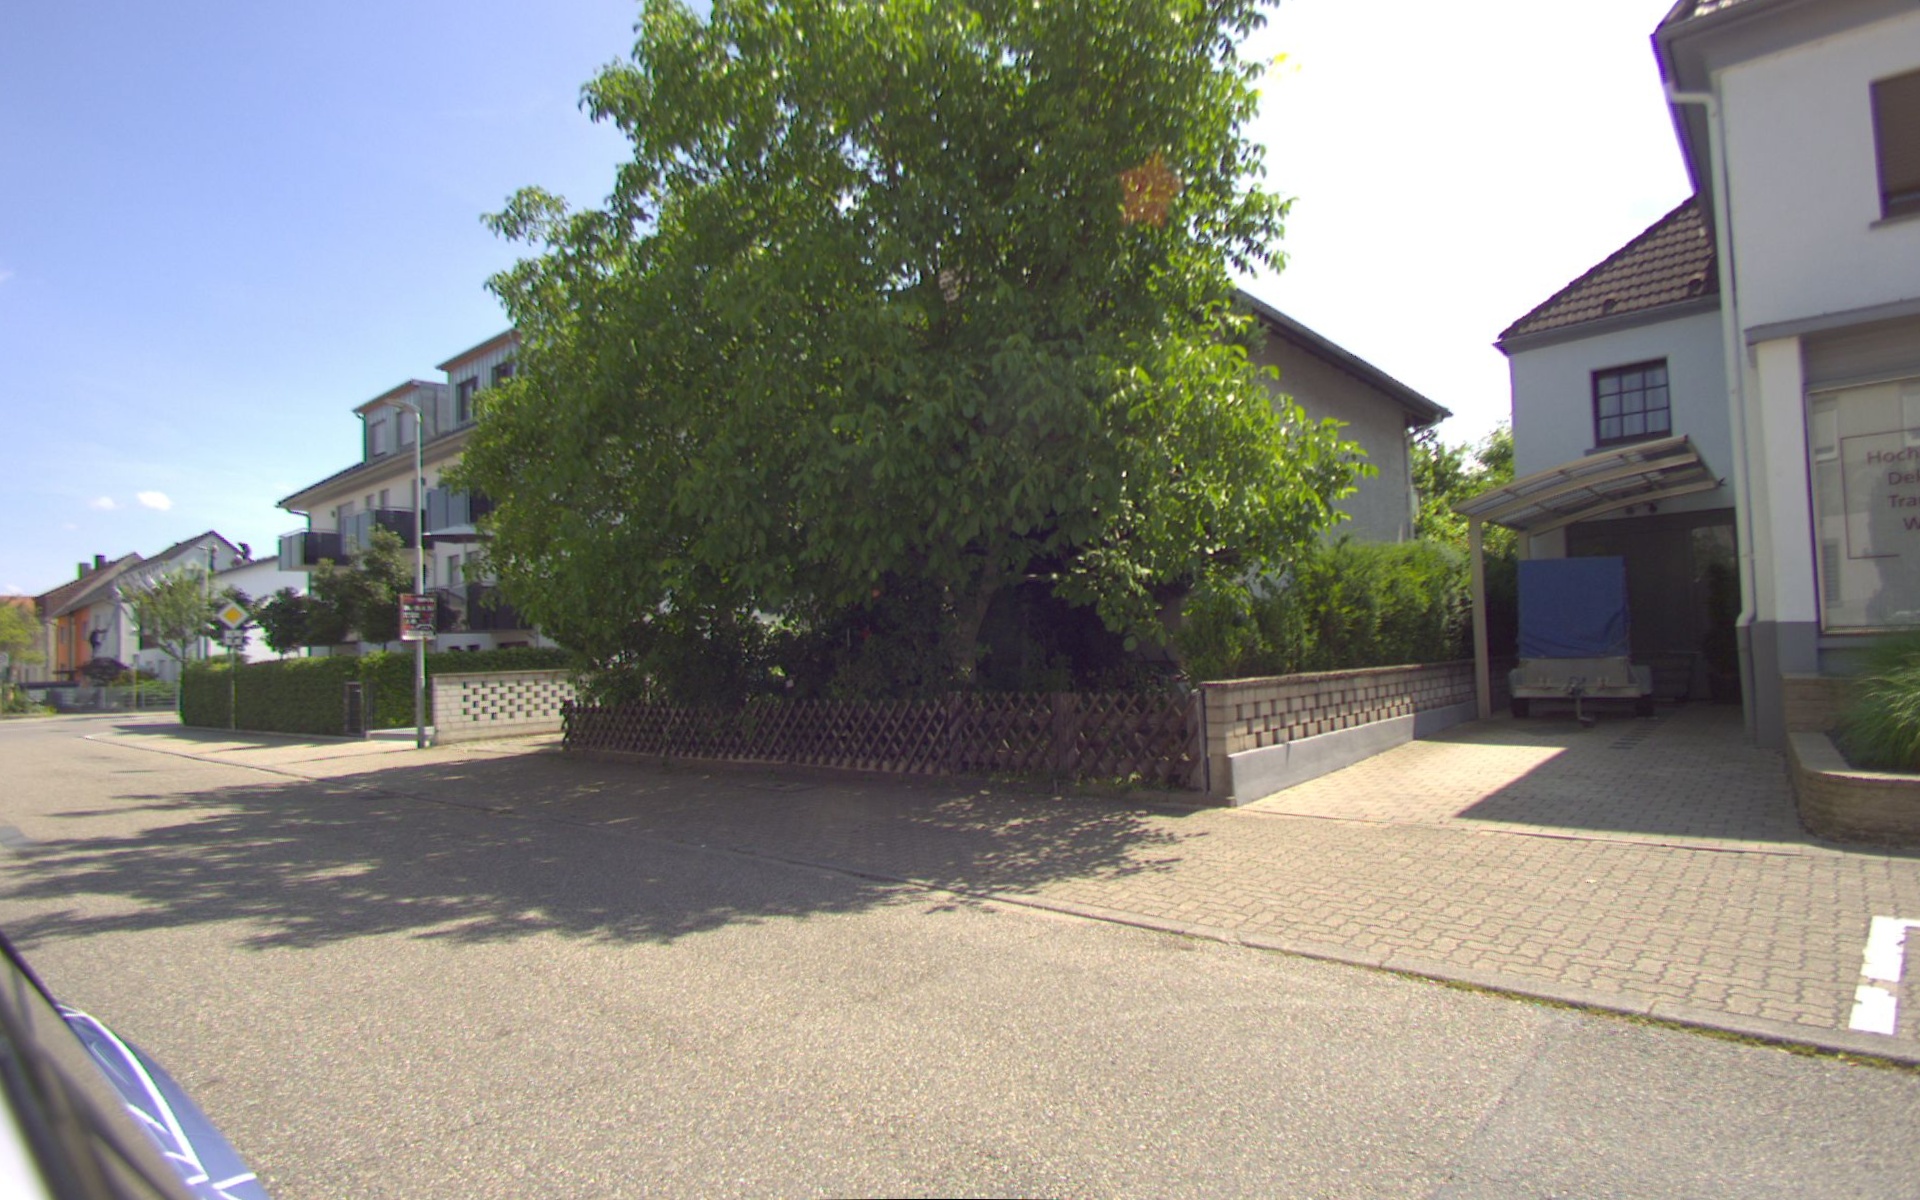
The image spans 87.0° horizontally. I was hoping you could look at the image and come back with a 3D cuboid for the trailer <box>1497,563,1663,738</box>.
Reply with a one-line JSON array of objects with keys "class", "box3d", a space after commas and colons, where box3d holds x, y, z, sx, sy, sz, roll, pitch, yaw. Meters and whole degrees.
[{"class": "trailer", "box3d": [8.716, 0.666, 14.126, 1.671, 2.129, 3.140, -4, -3, 35]}]
